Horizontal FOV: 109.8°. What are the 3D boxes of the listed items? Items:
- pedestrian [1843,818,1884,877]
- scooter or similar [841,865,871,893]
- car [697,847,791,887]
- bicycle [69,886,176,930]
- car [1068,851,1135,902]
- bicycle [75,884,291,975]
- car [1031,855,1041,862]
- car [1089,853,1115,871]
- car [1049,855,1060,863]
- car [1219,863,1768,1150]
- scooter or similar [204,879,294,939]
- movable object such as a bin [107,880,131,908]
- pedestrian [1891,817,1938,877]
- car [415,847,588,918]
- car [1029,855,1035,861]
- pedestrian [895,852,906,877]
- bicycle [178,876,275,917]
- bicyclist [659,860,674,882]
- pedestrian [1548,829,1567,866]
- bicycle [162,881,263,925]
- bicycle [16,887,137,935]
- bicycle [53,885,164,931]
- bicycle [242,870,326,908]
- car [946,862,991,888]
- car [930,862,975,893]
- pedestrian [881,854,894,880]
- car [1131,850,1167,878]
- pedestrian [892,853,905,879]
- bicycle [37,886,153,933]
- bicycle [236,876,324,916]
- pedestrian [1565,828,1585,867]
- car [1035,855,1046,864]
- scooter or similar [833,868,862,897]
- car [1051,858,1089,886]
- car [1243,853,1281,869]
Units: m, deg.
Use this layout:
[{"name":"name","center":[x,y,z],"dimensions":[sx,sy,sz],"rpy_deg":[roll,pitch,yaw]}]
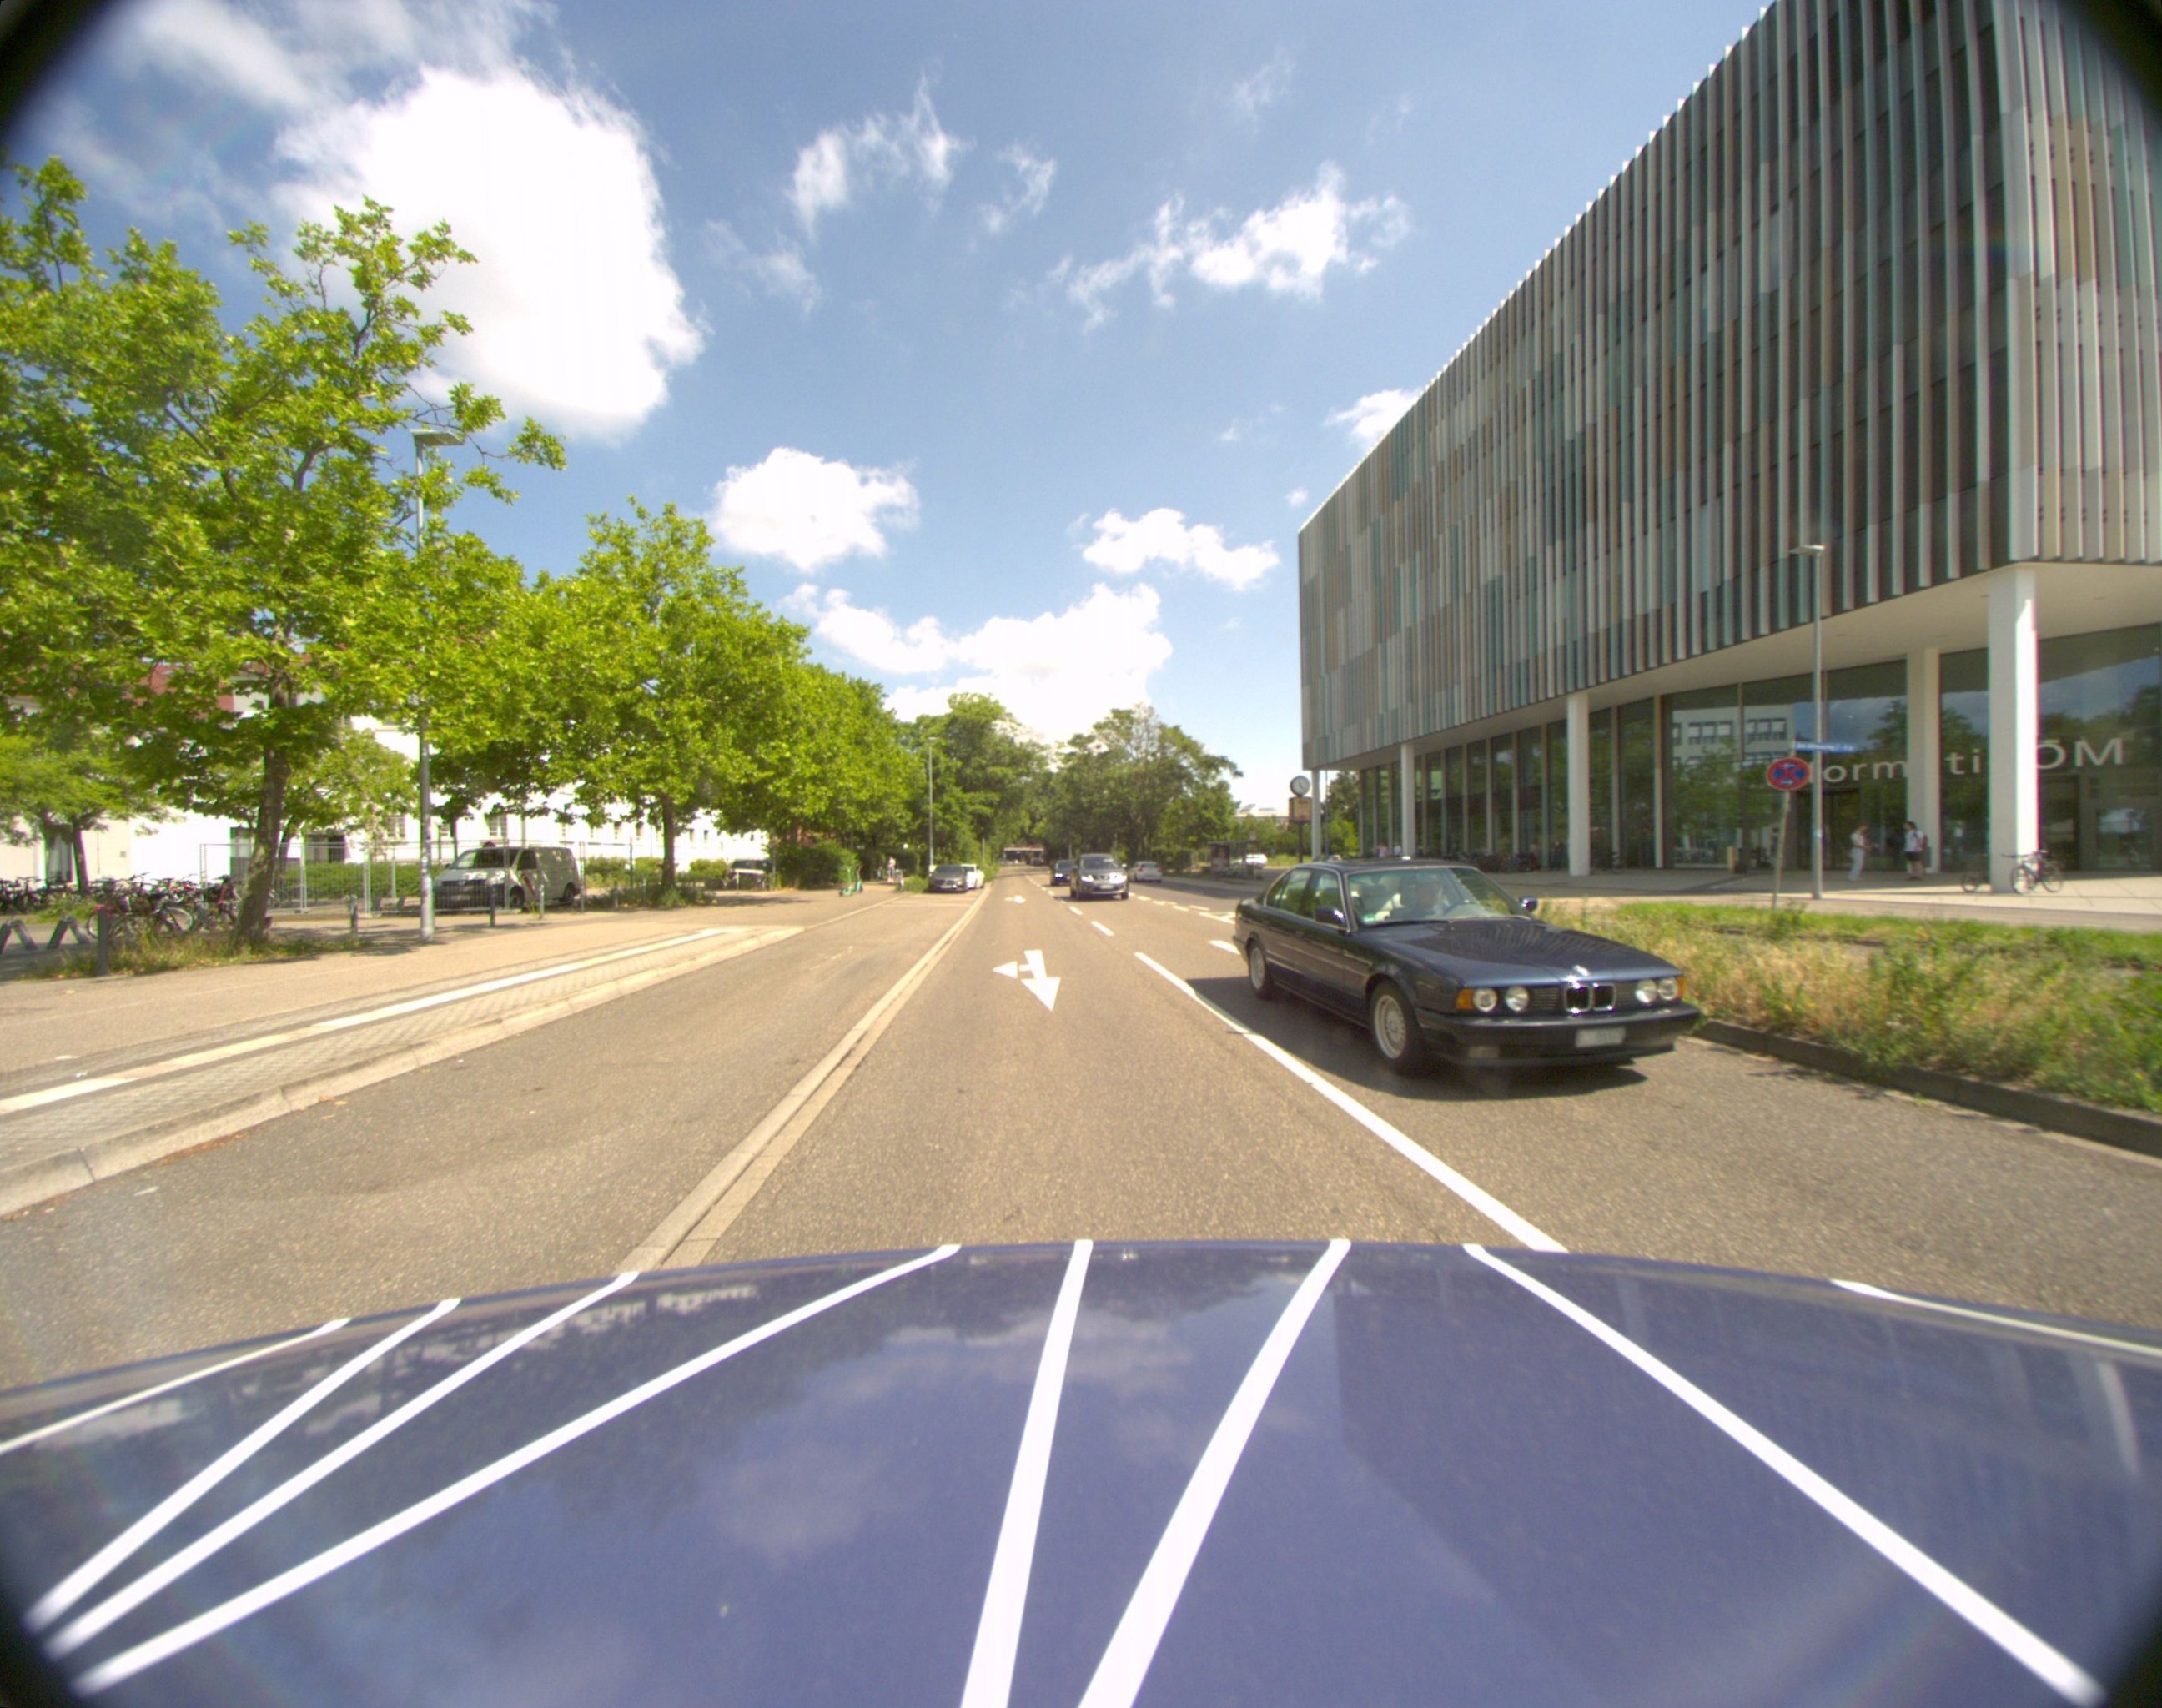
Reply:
[{"name":"pedestrian","center":[25.070,-0.203,24.349],"dimensions":[0.787,1.831,0.518],"rpy_deg":[-2,1,29]},{"name":"scooter or similar","center":[-10.004,1.102,33.848],"dimensions":[0.528,1.239,1.292],"rpy_deg":[0,0,29]},{"name":"car","center":[-17.521,0.653,39.687],"dimensions":[4.000,1.772,1.998],"rpy_deg":[-3,1,-8]},{"name":"bicycle","center":[-27.508,1.519,21.847],"dimensions":[1.770,1.092,0.602],"rpy_deg":[-4,1,-36]},{"name":"car","center":[0.658,0.758,27.811],"dimensions":[1.825,1.669,4.476],"rpy_deg":[-2,0,-6]},{"name":"bicycle","center":[-13.862,1.120,11.847],"dimensions":[0.799,1.176,2.032],"rpy_deg":[-2,1,5]},{"name":"car","center":[-10.082,0.992,170.456],"dimensions":[1.898,1.502,3.827],"rpy_deg":[-3,1,0]},{"name":"car","center":[2.058,0.791,75.590],"dimensions":[1.903,1.800,4.729],"rpy_deg":[0,0,-7]},{"name":"car","center":[-5.094,0.957,148.482],"dimensions":[1.898,1.502,3.827],"rpy_deg":[-3,1,0]},{"name":"car","center":[2.657,0.831,6.358],"dimensions":[1.697,1.378,4.611],"rpy_deg":[-3,0,-6]},{"name":"scooter or similar","center":[-18.300,1.202,16.726],"dimensions":[1.300,1.226,0.280],"rpy_deg":[-2,2,-20]},{"name":"movable object such as a bin","center":[-36.767,1.508,29.040],"dimensions":[0.389,1.049,0.368],"rpy_deg":[0,1,-10]},{"name":"pedestrian","center":[26.118,-0.220,23.810],"dimensions":[0.690,1.831,0.678],"rpy_deg":[-2,1,2]},{"name":"car","center":[-17.107,0.754,22.826],"dimensions":[1.904,1.854,4.937],"rpy_deg":[-2,1,-8]},{"name":"car","center":[-13.839,1.097,215.232],"dimensions":[1.757,1.502,3.826],"rpy_deg":[-3,1,-4]},{"name":"pedestrian","center":[-13.296,0.750,56.028],"dimensions":[0.684,1.770,0.790],"rpy_deg":[-3,1,-13]},{"name":"bicycle","center":[-25.409,1.246,22.628],"dimensions":[1.770,1.092,0.602],"rpy_deg":[-4,1,-36]},{"name":"bicyclist","center":[-25.476,1.051,46.676],"dimensions":[0.608,1.313,0.742],"rpy_deg":[0,1,-9]},{"name":"pedestrian","center":[24.036,-0.307,38.315],"dimensions":[0.562,1.831,0.554],"rpy_deg":[-3,1,-13]},{"name":"bicycle","center":[-24.821,1.378,21.758],"dimensions":[1.770,1.092,0.602],"rpy_deg":[-4,1,-36]},{"name":"bicycle","center":[-26.283,1.474,19.922],"dimensions":[1.770,1.092,0.602],"rpy_deg":[-4,1,-36]},{"name":"bicycle","center":[-27.135,1.492,21.247],"dimensions":[1.770,1.092,0.602],"rpy_deg":[-4,1,-36]},{"name":"bicycle","center":[-26.195,1.132,25.023],"dimensions":[1.770,1.092,0.602],"rpy_deg":[-4,1,-37]},{"name":"car","center":[-6.408,1.162,43.833],"dimensions":[1.742,1.442,4.942],"rpy_deg":[0,-1,2]},{"name":"car","center":[-6.453,1.150,38.540],"dimensions":[1.862,1.470,4.940],"rpy_deg":[0,-1,-5]},{"name":"pedestrian","center":[-13.530,0.891,53.188],"dimensions":[0.685,1.770,0.789],"rpy_deg":[-3,1,-21]},{"name":"car","center":[4.466,0.677,50.798],"dimensions":[1.729,1.800,4.731],"rpy_deg":[1,-1,-3]},{"name":"pedestrian","center":[-12.828,0.810,53.388],"dimensions":[0.685,1.770,0.789],"rpy_deg":[-4,1,-24]},{"name":"bicycle","center":[-26.737,1.491,20.646],"dimensions":[1.770,1.092,0.602],"rpy_deg":[-4,1,-36]},{"name":"bicycle","center":[-25.319,1.308,24.056],"dimensions":[1.770,1.092,0.602],"rpy_deg":[-4,1,-37]},{"name":"pedestrian","center":[23.834,-0.310,36.670],"dimensions":[0.562,1.831,0.554],"rpy_deg":[-3,1,-13]},{"name":"car","center":[-7.916,1.091,149.926],"dimensions":[1.898,1.502,3.827],"rpy_deg":[-3,1,0]},{"name":"scooter or similar","center":[-9.646,1.159,31.487],"dimensions":[0.529,1.162,1.576],"rpy_deg":[0,0,8]},{"name":"car","center":[-0.582,0.990,43.325],"dimensions":[1.829,1.407,4.192],"rpy_deg":[-2,0,3]},{"name":"car","center":[20.288,0.792,85.264],"dimensions":[3.825,1.502,1.899],"rpy_deg":[-3,1,0]}]
